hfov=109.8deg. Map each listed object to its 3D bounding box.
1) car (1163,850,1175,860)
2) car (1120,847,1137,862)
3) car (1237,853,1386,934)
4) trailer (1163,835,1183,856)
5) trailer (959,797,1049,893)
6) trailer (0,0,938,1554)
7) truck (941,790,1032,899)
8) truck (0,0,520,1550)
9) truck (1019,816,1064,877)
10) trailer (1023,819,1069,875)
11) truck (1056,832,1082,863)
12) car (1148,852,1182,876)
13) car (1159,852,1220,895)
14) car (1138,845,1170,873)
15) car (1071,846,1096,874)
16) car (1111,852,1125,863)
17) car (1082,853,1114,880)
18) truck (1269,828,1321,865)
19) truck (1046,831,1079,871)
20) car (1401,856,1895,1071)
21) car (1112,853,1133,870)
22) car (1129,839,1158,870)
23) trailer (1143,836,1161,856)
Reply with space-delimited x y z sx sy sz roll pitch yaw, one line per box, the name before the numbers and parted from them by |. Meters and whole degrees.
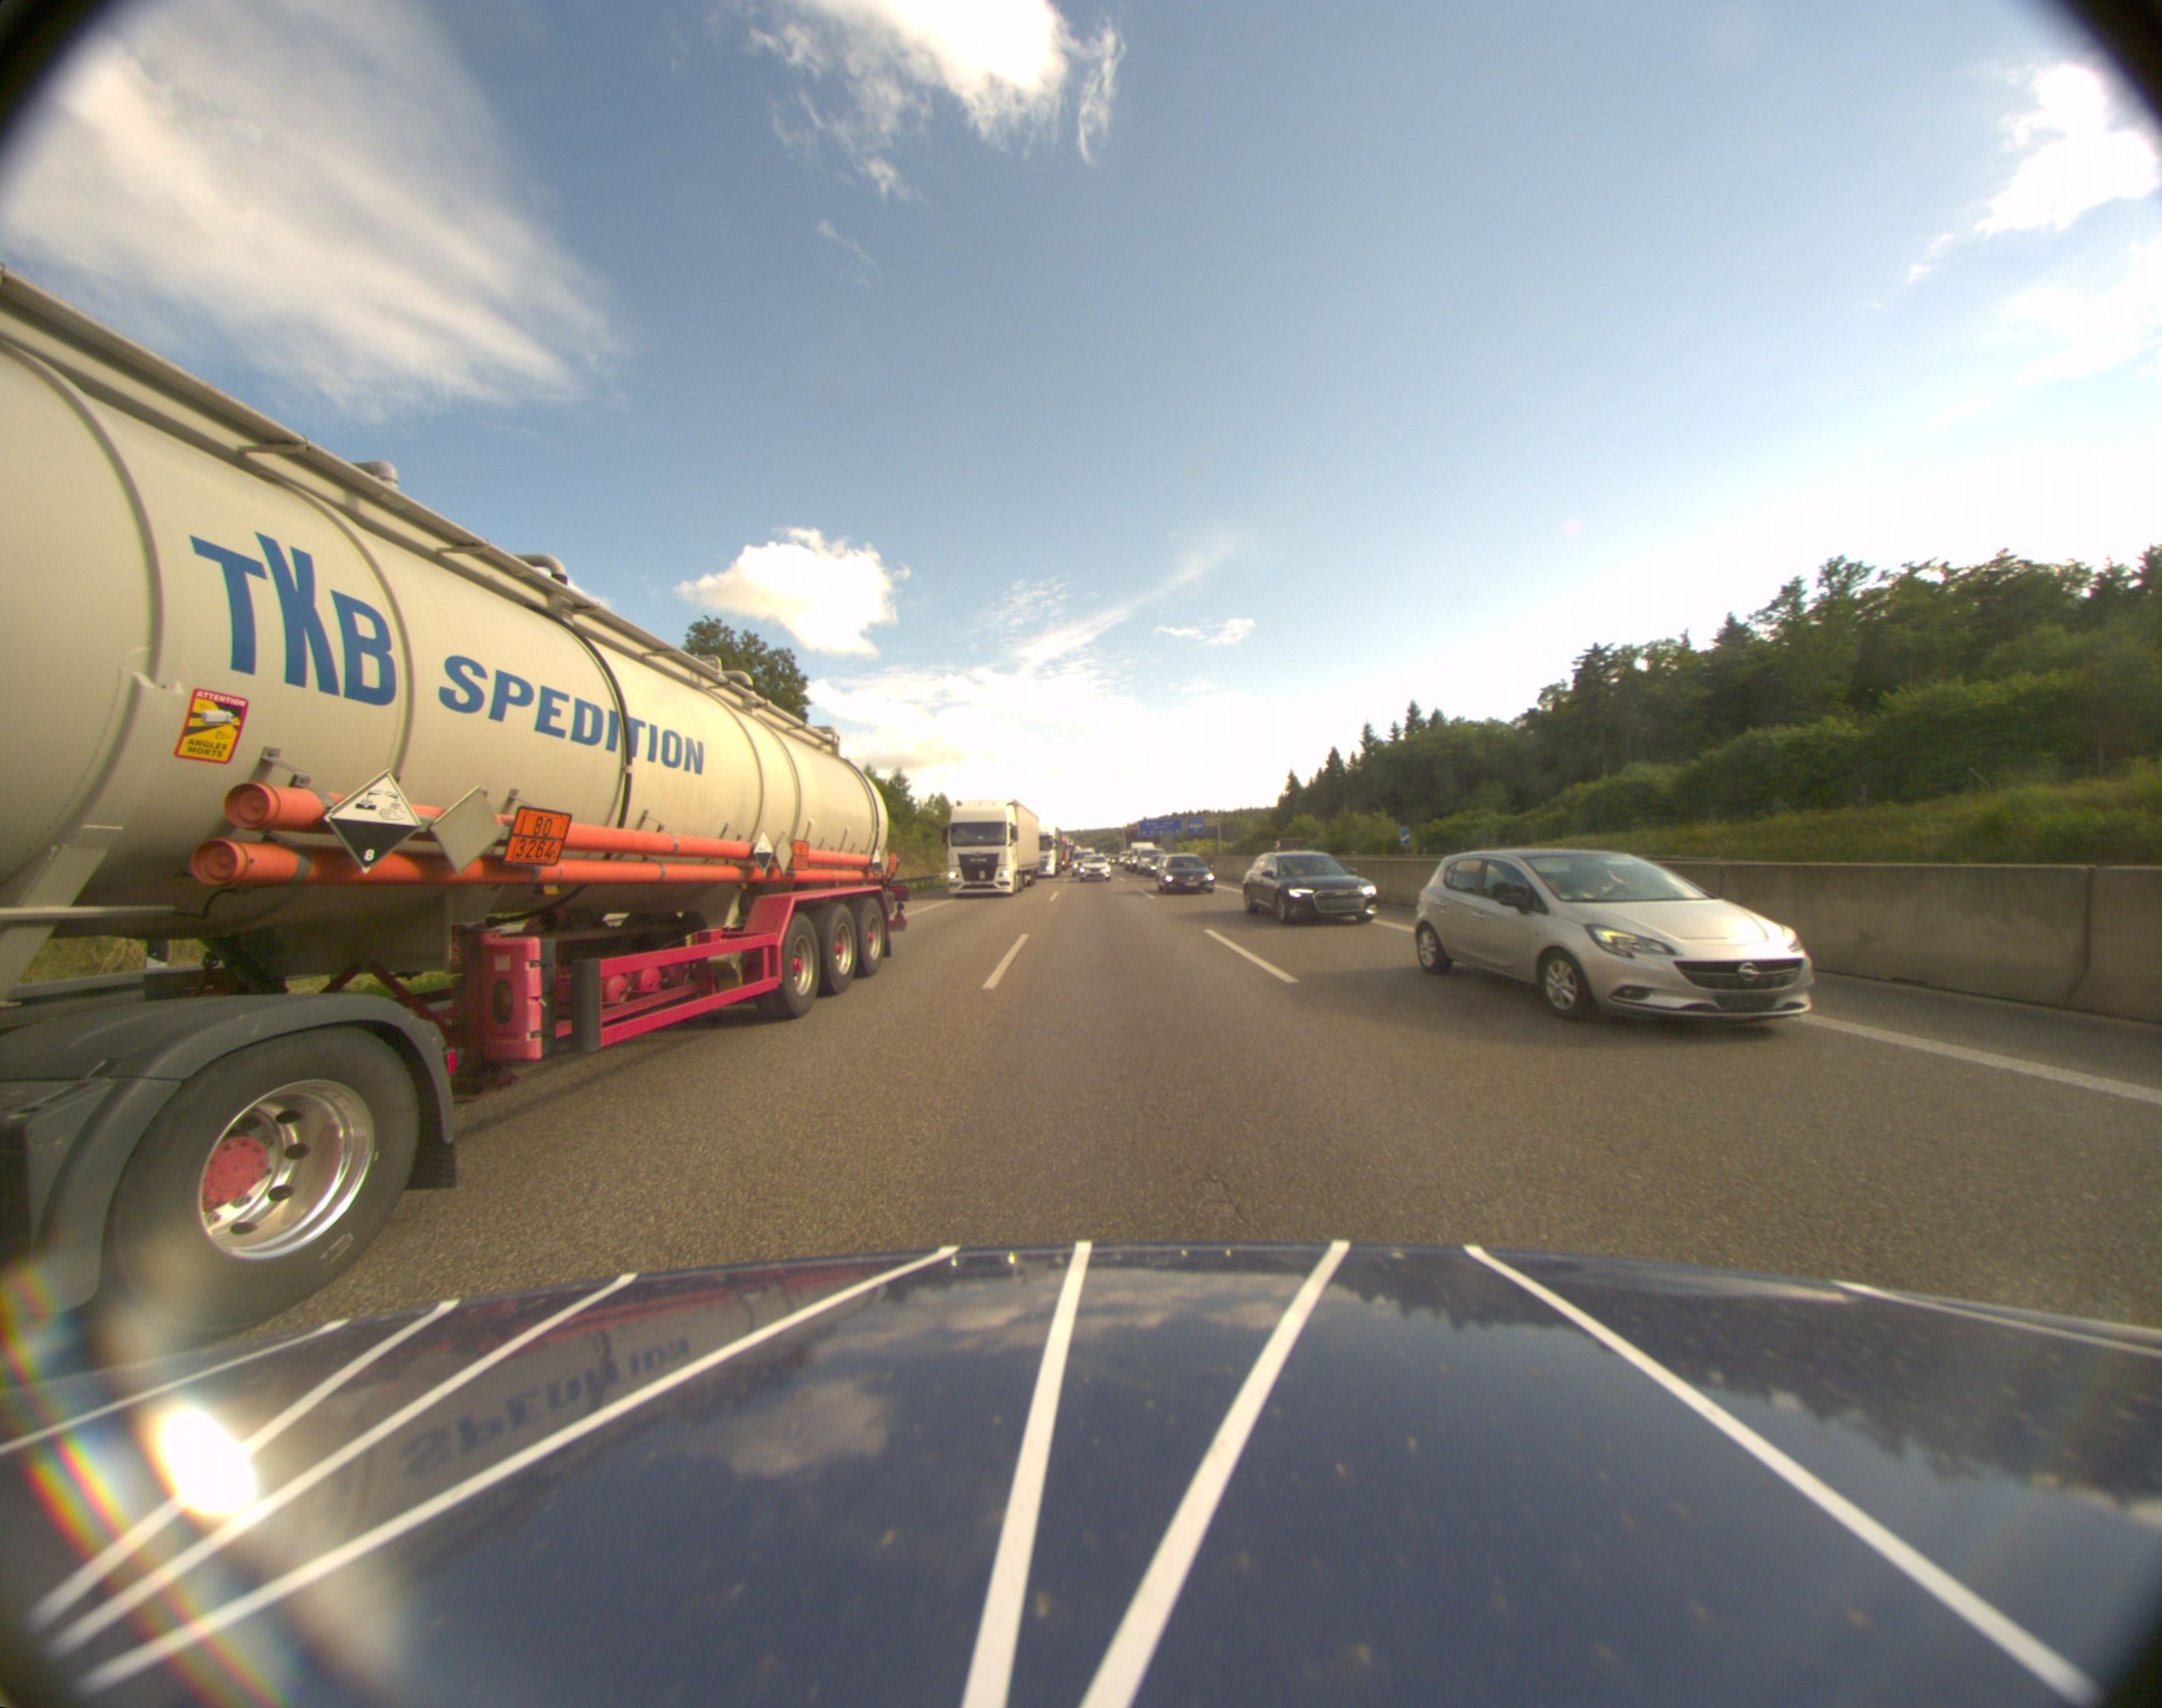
car | 17.353 0.237 150.447 1.857 1.799 4.624 -2 0 0
car | 6.259 0.036 99.958 1.920 1.785 3.811 -2 0 1
car | 4.869 0.749 16.831 1.887 1.463 4.852 -2 0 1
trailer | 22.494 -2.036 186.301 2.934 4.802 14.651 -2 1 0
trailer | -3.596 -0.439 39.205 2.833 4.047 13.372 -1 0 1
trailer | -3.952 -0.300 6.908 2.805 4.003 11.182 -2 0 1
truck | -3.796 -0.379 31.808 2.841 4.048 5.707 -2 1 1
truck | -4.127 -0.264 0.552 2.810 4.020 5.903 -2 1 1
truck | -2.870 -0.540 56.673 2.841 4.178 5.707 -2 0 1
trailer | -2.726 -0.561 64.030 2.841 4.177 13.613 -2 0 1
truck | -1.664 -0.944 111.034 2.840 4.178 12.045 -2 1 2
car | 5.519 0.640 50.170 1.809 1.423 3.994 -2 0 1
car | 4.136 0.698 29.673 1.915 1.469 4.569 -1 0 3
car | 5.407 0.343 56.834 1.947 1.953 4.847 -2 0 1
car | 0.210 0.432 58.472 1.809 2.052 4.770 -2 0 1
car | 5.647 0.559 117.058 1.920 1.535 3.811 -2 0 1
car | 1.013 0.731 46.090 1.809 1.488 4.666 -1 0 1
truck | 17.774 -0.608 63.379 2.429 2.838 6.430 -2 0 0
truck | -1.954 -0.407 86.496 2.840 4.178 12.045 -2 1 2
car | 4.808 0.771 7.319 1.751 1.457 4.040 -1 0 0
car | 3.876 0.673 71.412 1.809 1.423 3.660 -2 0 1
car | 5.371 0.008 65.565 2.054 2.557 5.861 -1 0 1
trailer | 18.322 -2.069 197.004 3.096 5.044 13.832 -2 1 0
